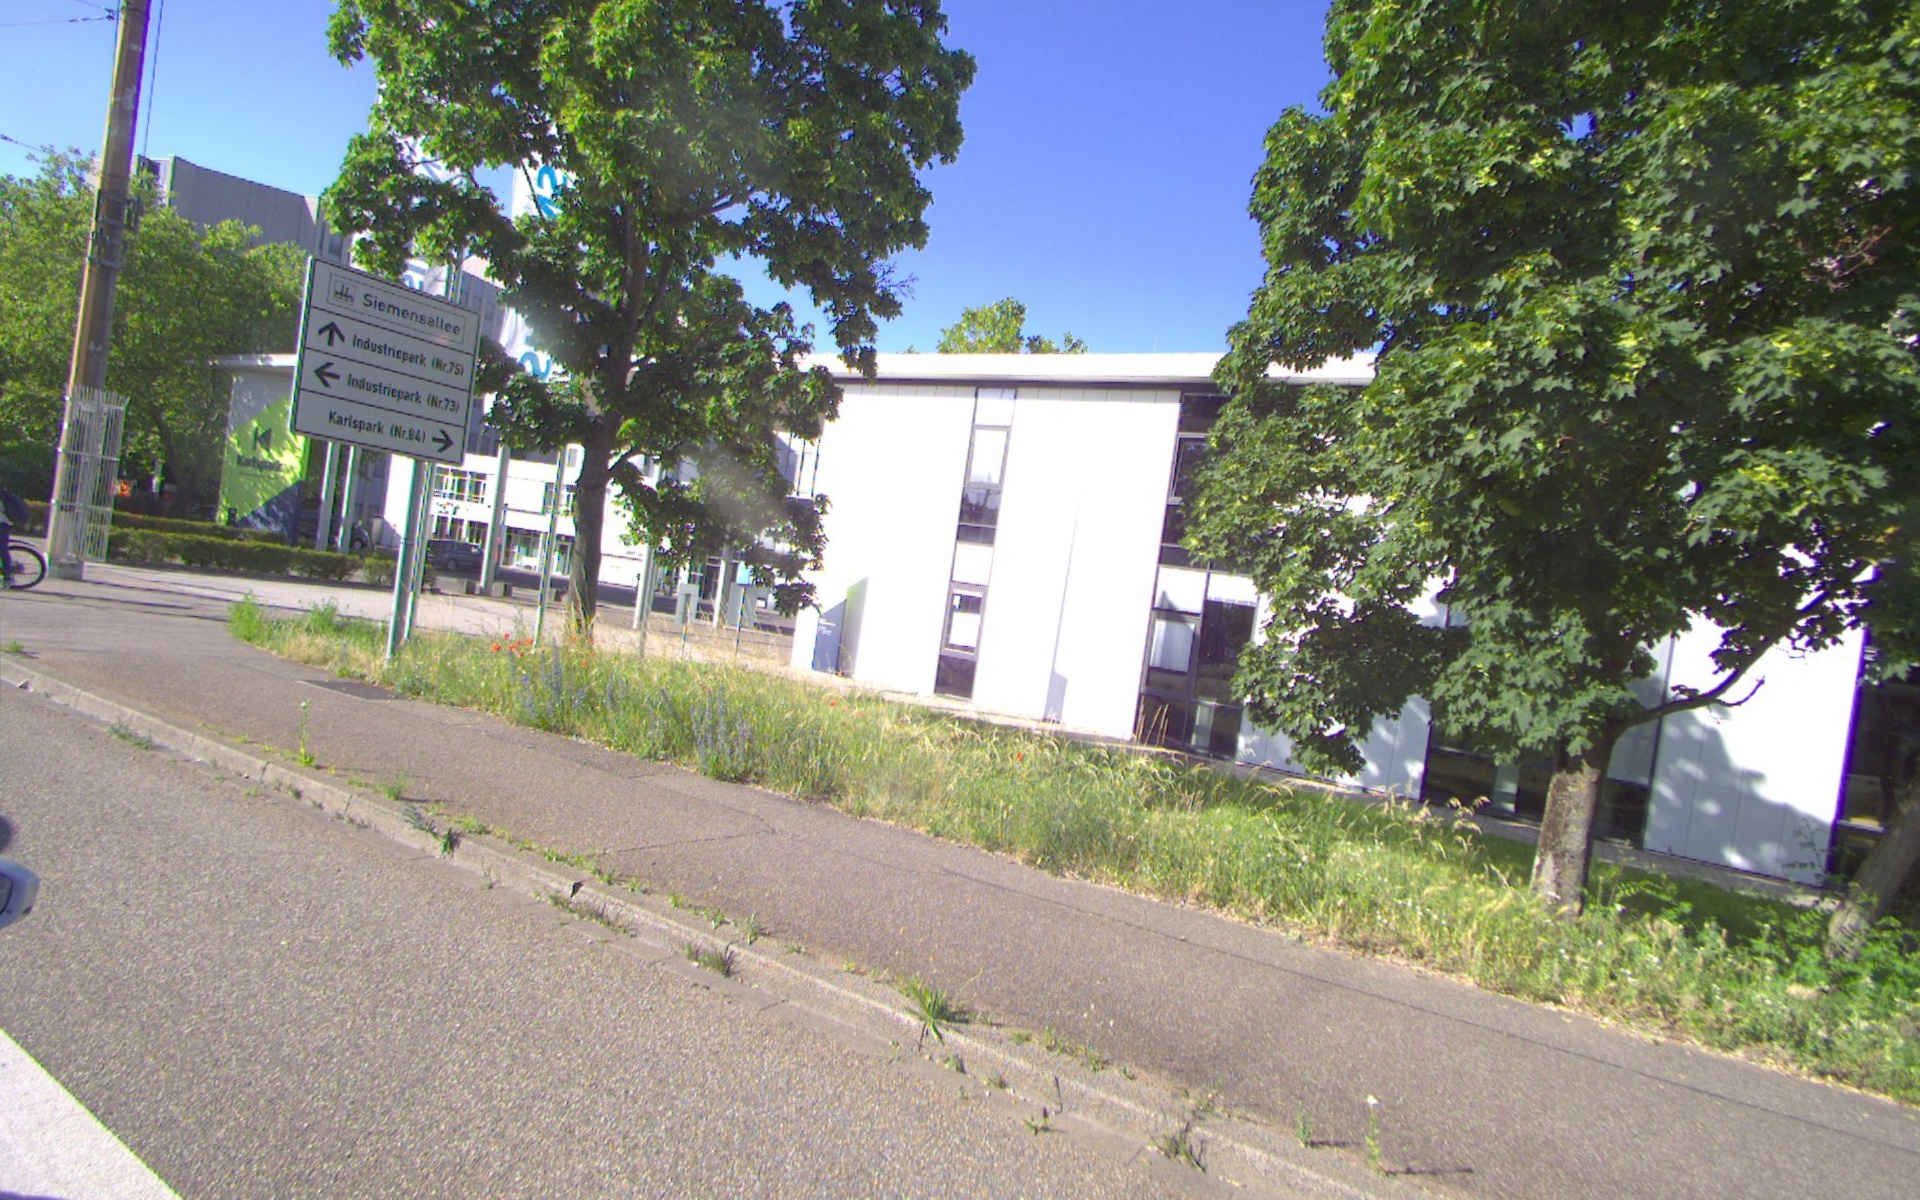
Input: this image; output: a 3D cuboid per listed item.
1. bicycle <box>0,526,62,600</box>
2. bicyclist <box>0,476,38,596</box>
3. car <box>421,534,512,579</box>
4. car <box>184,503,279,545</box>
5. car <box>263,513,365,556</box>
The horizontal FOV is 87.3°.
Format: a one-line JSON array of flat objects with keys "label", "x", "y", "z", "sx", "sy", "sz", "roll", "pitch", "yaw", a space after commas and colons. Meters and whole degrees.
[{"label": "bicycle", "x": -14.876, "y": -0.654, "z": 15.113, "sx": 0.754, "sy": 1.009, "sz": 1.918, "roll": 7, "pitch": -2, "yaw": 42}, {"label": "bicyclist", "x": -14.715, "y": -1.010, "z": 15.254, "sx": 0.754, "sy": 1.767, "sz": 0.908, "roll": 7, "pitch": 1, "yaw": 42}, {"label": "car", "x": -26.287, "y": -2.298, "z": 53.713, "sx": 1.865, "sy": 1.741, "sz": 4.001, "roll": 8, "pitch": -1, "yaw": 22}, {"label": "car", "x": -42.717, "y": -4.442, "z": 59.087, "sx": 1.963, "sy": 1.778, "sz": 4.002, "roll": 7, "pitch": -1, "yaw": 19}, {"label": "car", "x": -36.213, "y": -3.647, "z": 56.557, "sx": 1.841, "sy": 1.649, "sz": 4.553, "roll": 7, "pitch": -1, "yaw": 19}]
